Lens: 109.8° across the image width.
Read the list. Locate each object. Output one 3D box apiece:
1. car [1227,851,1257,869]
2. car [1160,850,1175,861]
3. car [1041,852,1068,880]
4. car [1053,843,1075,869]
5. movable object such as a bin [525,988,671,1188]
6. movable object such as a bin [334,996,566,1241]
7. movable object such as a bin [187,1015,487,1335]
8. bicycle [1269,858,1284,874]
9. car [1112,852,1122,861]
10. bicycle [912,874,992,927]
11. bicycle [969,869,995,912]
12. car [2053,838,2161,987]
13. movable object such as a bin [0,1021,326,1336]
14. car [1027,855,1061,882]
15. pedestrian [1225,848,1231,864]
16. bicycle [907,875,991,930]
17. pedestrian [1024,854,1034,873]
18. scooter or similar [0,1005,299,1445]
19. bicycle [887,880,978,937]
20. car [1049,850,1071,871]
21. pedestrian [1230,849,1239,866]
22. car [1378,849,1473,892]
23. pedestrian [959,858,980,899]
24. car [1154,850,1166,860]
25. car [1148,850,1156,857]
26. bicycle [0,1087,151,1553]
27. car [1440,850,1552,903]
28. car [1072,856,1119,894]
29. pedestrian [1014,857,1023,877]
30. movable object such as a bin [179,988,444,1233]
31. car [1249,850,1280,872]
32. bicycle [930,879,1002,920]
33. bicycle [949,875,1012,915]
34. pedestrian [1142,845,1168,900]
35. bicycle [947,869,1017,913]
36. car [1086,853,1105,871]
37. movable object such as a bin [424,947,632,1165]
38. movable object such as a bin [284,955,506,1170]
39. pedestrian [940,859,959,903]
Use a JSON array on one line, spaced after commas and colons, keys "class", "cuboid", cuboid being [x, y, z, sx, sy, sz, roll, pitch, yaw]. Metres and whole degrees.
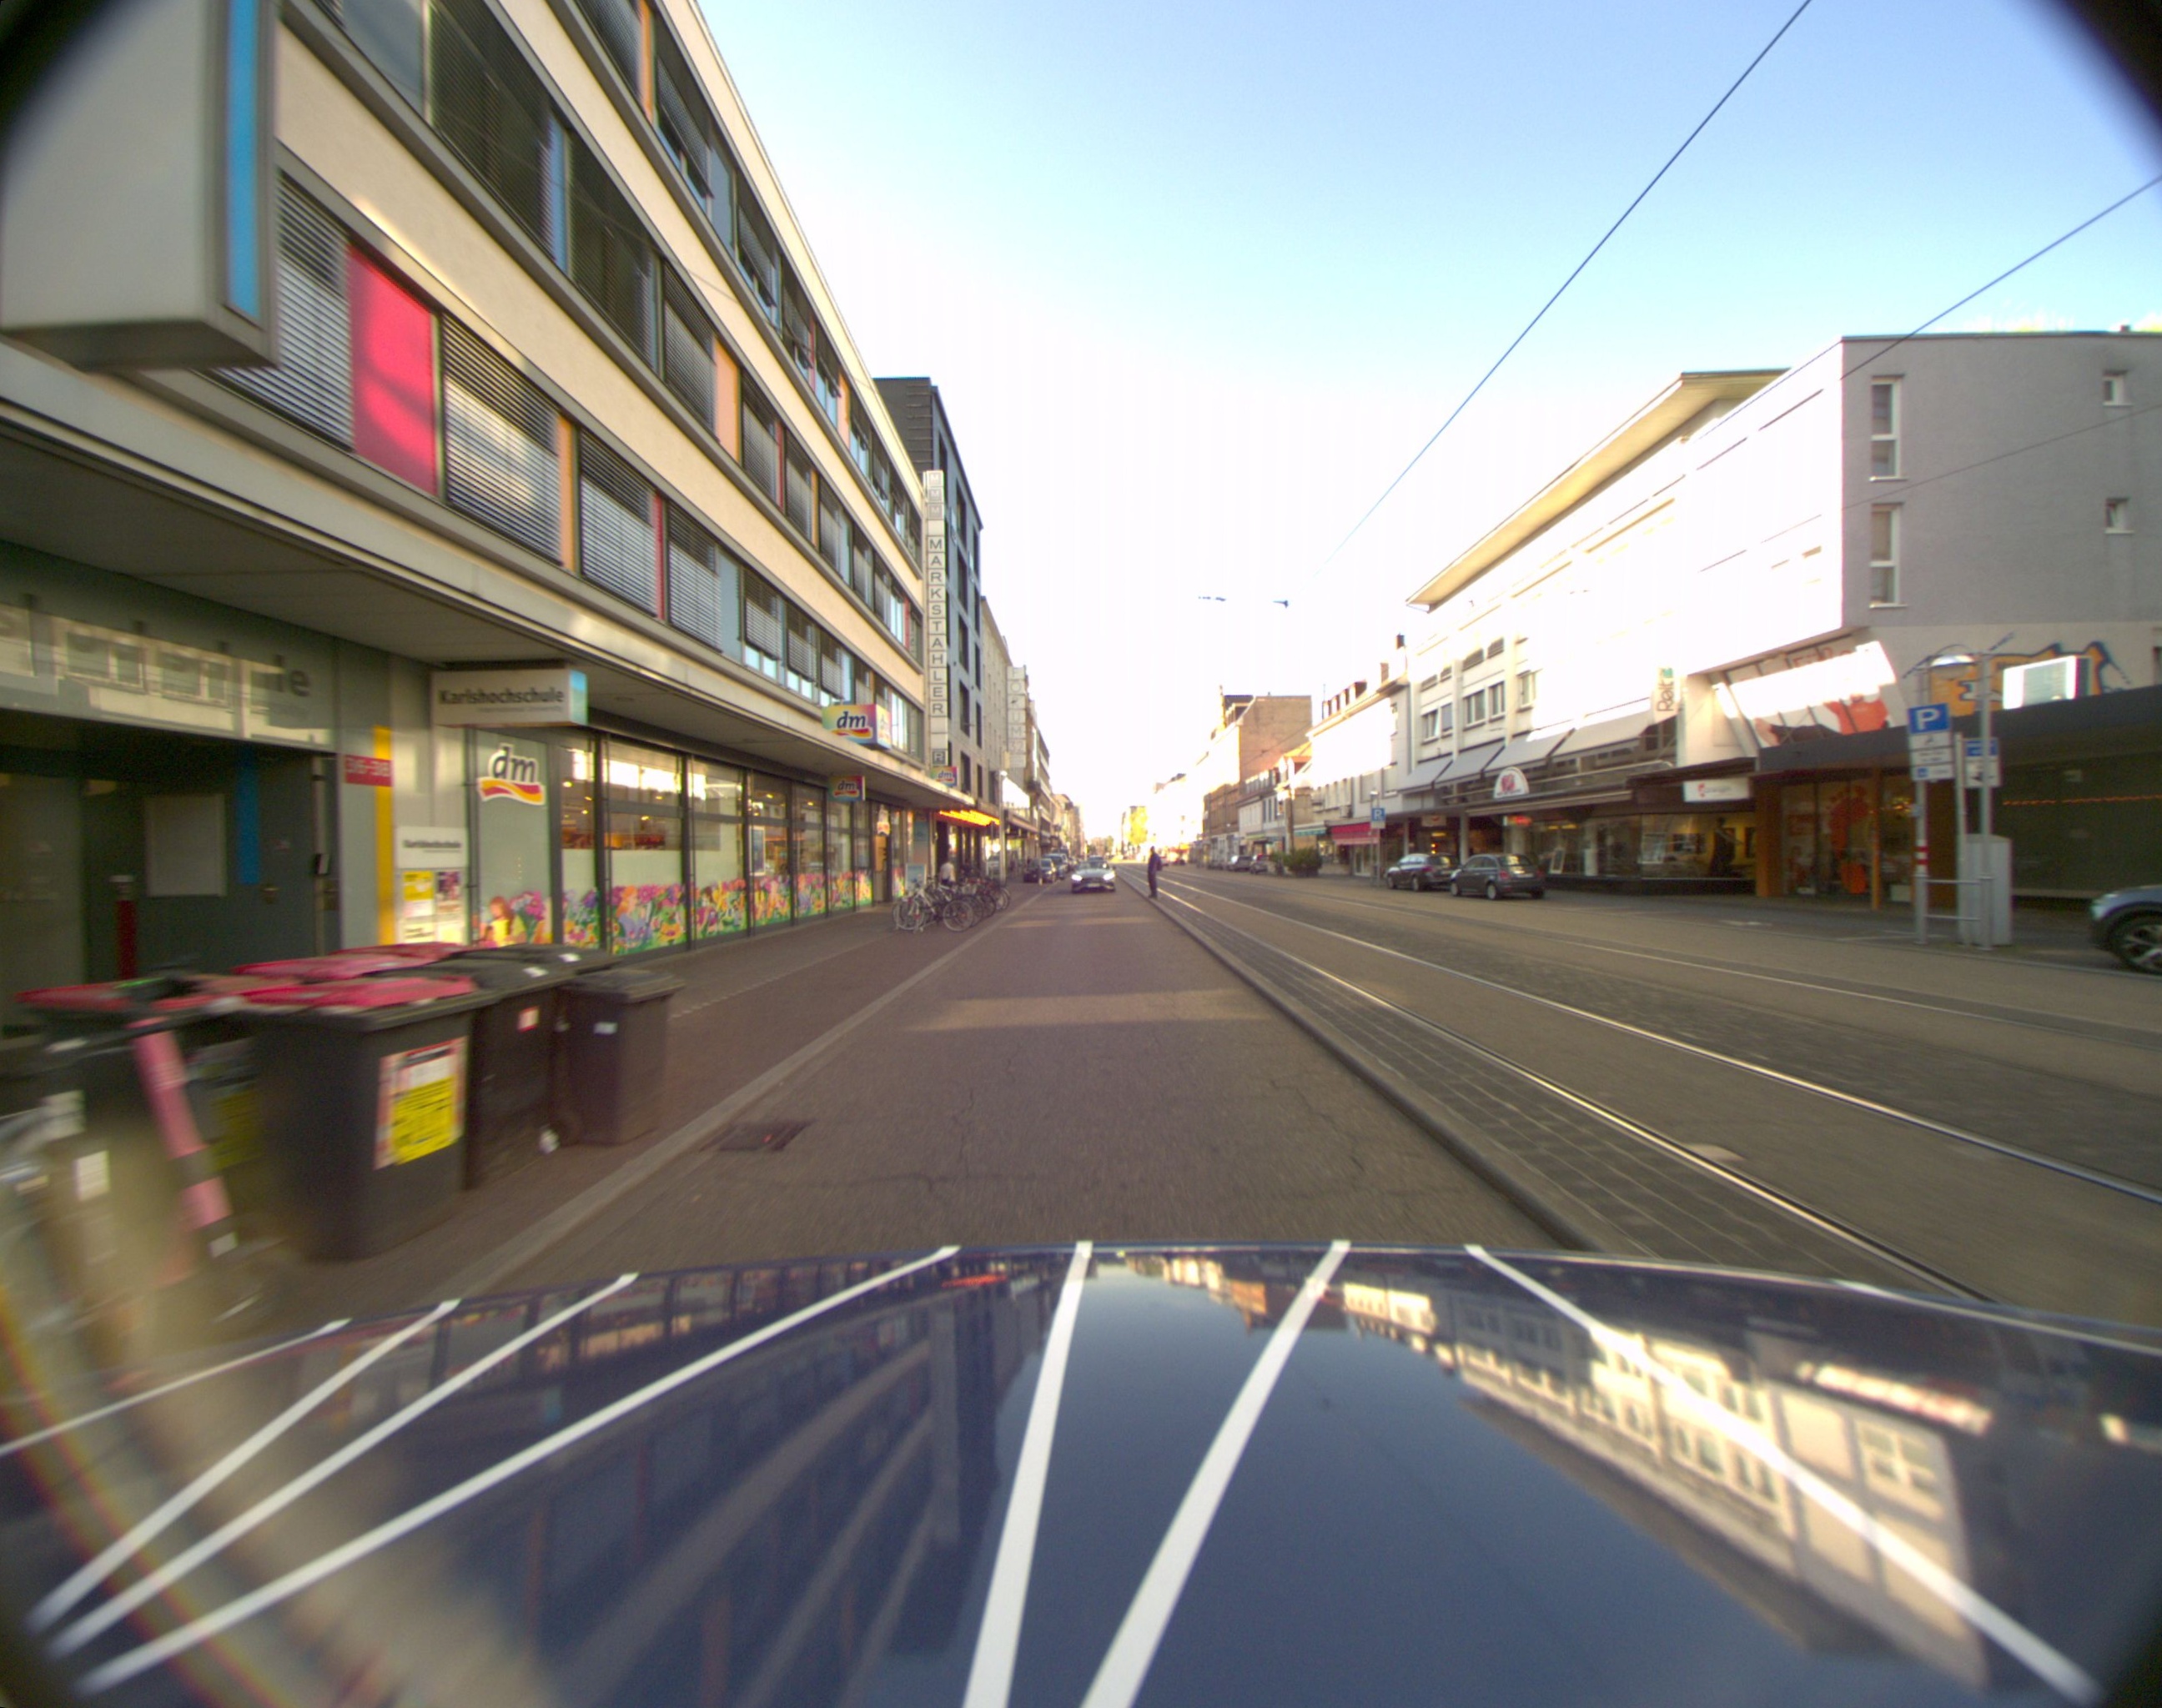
[{"class": "car", "cuboid": [14.620, 0.548, 69.274, 1.822, 1.505, 4.762, -2, 1, 1]}, {"class": "car", "cuboid": [12.484, 0.226, 110.199, 1.802, 1.625, 3.676, -1, 1, 1]}, {"class": "car", "cuboid": [-1.855, 0.814, 53.050, 1.821, 1.849, 4.548, 0, 1, -2]}, {"class": "car", "cuboid": [-1.754, 0.277, 80.546, 2.051, 2.486, 5.687, -3, -1, 0]}, {"class": "movable object such as a bin", "cuboid": [-2.633, 1.255, 4.177, 0.488, 0.952, 0.458, 0, 1, 4]}, {"class": "movable object such as a bin", "cuboid": [-3.029, 1.242, 3.692, 0.688, 1.008, 0.508, 0, 1, 4]}, {"class": "movable object such as a bin", "cuboid": [-2.957, 1.231, 3.085, 0.523, 1.008, 0.671, 0, 1, 4]}, {"class": "bicycle", "cuboid": [13.491, 0.824, 52.472, 0.519, 1.084, 1.716, -3, 1, 1]}, {"class": "car", "cuboid": [8.327, 0.575, 176.066, 1.998, 2.002, 4.000, -3, 1, 2]}, {"class": "bicycle", "cuboid": [-3.064, 1.094, 18.115, 1.792, 1.210, 0.587, 0, 1, 0]}, {"class": "bicycle", "cuboid": [-3.089, 1.107, 23.770, 0.583, 1.250, 1.601, 1, 1, -1]}, {"class": "car", "cuboid": [13.402, 0.666, 7.380, 1.983, 1.669, 4.655, -3, 1, 2]}, {"class": "movable object such as a bin", "cuboid": [-3.747, 1.260, 3.108, 0.659, 1.008, 0.636, 0, 1, 4]}, {"class": "car", "cuboid": [-2.232, 0.844, 46.792, 1.726, 1.476, 4.416, 1, 1, 1]}, {"class": "pedestrian", "cuboid": [16.254, 0.237, 84.027, 0.581, 1.795, 0.659, -3, 1, 13]}, {"class": "bicycle", "cuboid": [-2.989, 1.098, 17.367, 1.792, 1.210, 0.669, 0, 1, 0]}, {"class": "pedestrian", "cuboid": [-4.227, 0.751, 61.810, 0.697, 1.499, 0.814, -1, 1, 1]}, {"class": "scooter or similar", "cuboid": [-3.125, 1.122, 2.385, 0.995, 1.224, 0.320, 1, 1, 0]}, {"class": "bicycle", "cuboid": [-3.132, 1.149, 16.105, 1.792, 1.153, 0.669, 0, 1, 0]}, {"class": "car", "cuboid": [-2.016, 0.582, 73.967, 2.051, 1.899, 4.877, 0, 1, -2]}, {"class": "pedestrian", "cuboid": [15.869, 0.373, 78.530, 0.658, 1.752, 0.581, -3, 1, -7]}, {"class": "car", "cuboid": [13.963, 0.623, 31.143, 1.741, 1.514, 4.852, -3, 1, 2]}, {"class": "pedestrian", "cuboid": [-4.141, 0.905, 28.130, 0.584, 1.485, 0.523, 0, 1, -35]}, {"class": "car", "cuboid": [13.251, 0.172, 126.849, 1.667, 1.521, 4.000, 0, 1, 1]}, {"class": "car", "cuboid": [17.741, -0.110, 189.811, 1.630, 1.524, 3.464, 1, 1, 1]}, {"class": "bicycle", "cuboid": [-3.269, 1.207, 2.041, 1.134, 1.073, 0.320, 1, 1, 0]}, {"class": "car", "cuboid": [13.602, 0.686, 25.127, 1.605, 1.514, 3.588, -3, 1, -1]}, {"class": "car", "cuboid": [0.603, 0.847, 32.853, 1.858, 1.463, 4.786, -1, 1, 1]}, {"class": "pedestrian", "cuboid": [-4.637, 0.961, 56.483, 0.577, 1.431, 0.731, 1, 1, 1]}, {"class": "movable object such as a bin", "cuboid": [-3.812, 1.236, 3.816, 0.659, 1.008, 0.636, 0, 1, 4]}, {"class": "car", "cuboid": [14.402, 0.517, 59.848, 1.701, 1.594, 2.891, -3, 1, 1]}, {"class": "bicycle", "cuboid": [-2.960, 1.174, 19.678, 1.778, 1.026, 0.597, 0, 1, 0]}, {"class": "bicycle", "cuboid": [-2.880, 1.169, 21.919, 1.778, 1.124, 0.478, 0, 1, -4]}, {"class": "pedestrian", "cuboid": [2.479, 0.600, 25.493, 0.806, 1.827, 0.746, 0, 1, 0]}, {"class": "bicycle", "cuboid": [-2.978, 1.098, 22.817, 2.042, 1.267, 0.524, 0, 1, -8]}, {"class": "car", "cuboid": [1.316, 0.701, 68.302, 1.630, 1.593, 3.330, 1, 1, 1]}, {"class": "movable object such as a bin", "cuboid": [-3.202, 1.138, 4.464, 0.692, 1.082, 0.686, 0, 1, 4]}, {"class": "movable object such as a bin", "cuboid": [-4.034, 1.192, 4.519, 0.692, 1.082, 0.666, 0, 1, 4]}, {"class": "pedestrian", "cuboid": [-4.814, 0.988, 27.819, 0.583, 1.576, 0.598, 1, 1, -1]}]
